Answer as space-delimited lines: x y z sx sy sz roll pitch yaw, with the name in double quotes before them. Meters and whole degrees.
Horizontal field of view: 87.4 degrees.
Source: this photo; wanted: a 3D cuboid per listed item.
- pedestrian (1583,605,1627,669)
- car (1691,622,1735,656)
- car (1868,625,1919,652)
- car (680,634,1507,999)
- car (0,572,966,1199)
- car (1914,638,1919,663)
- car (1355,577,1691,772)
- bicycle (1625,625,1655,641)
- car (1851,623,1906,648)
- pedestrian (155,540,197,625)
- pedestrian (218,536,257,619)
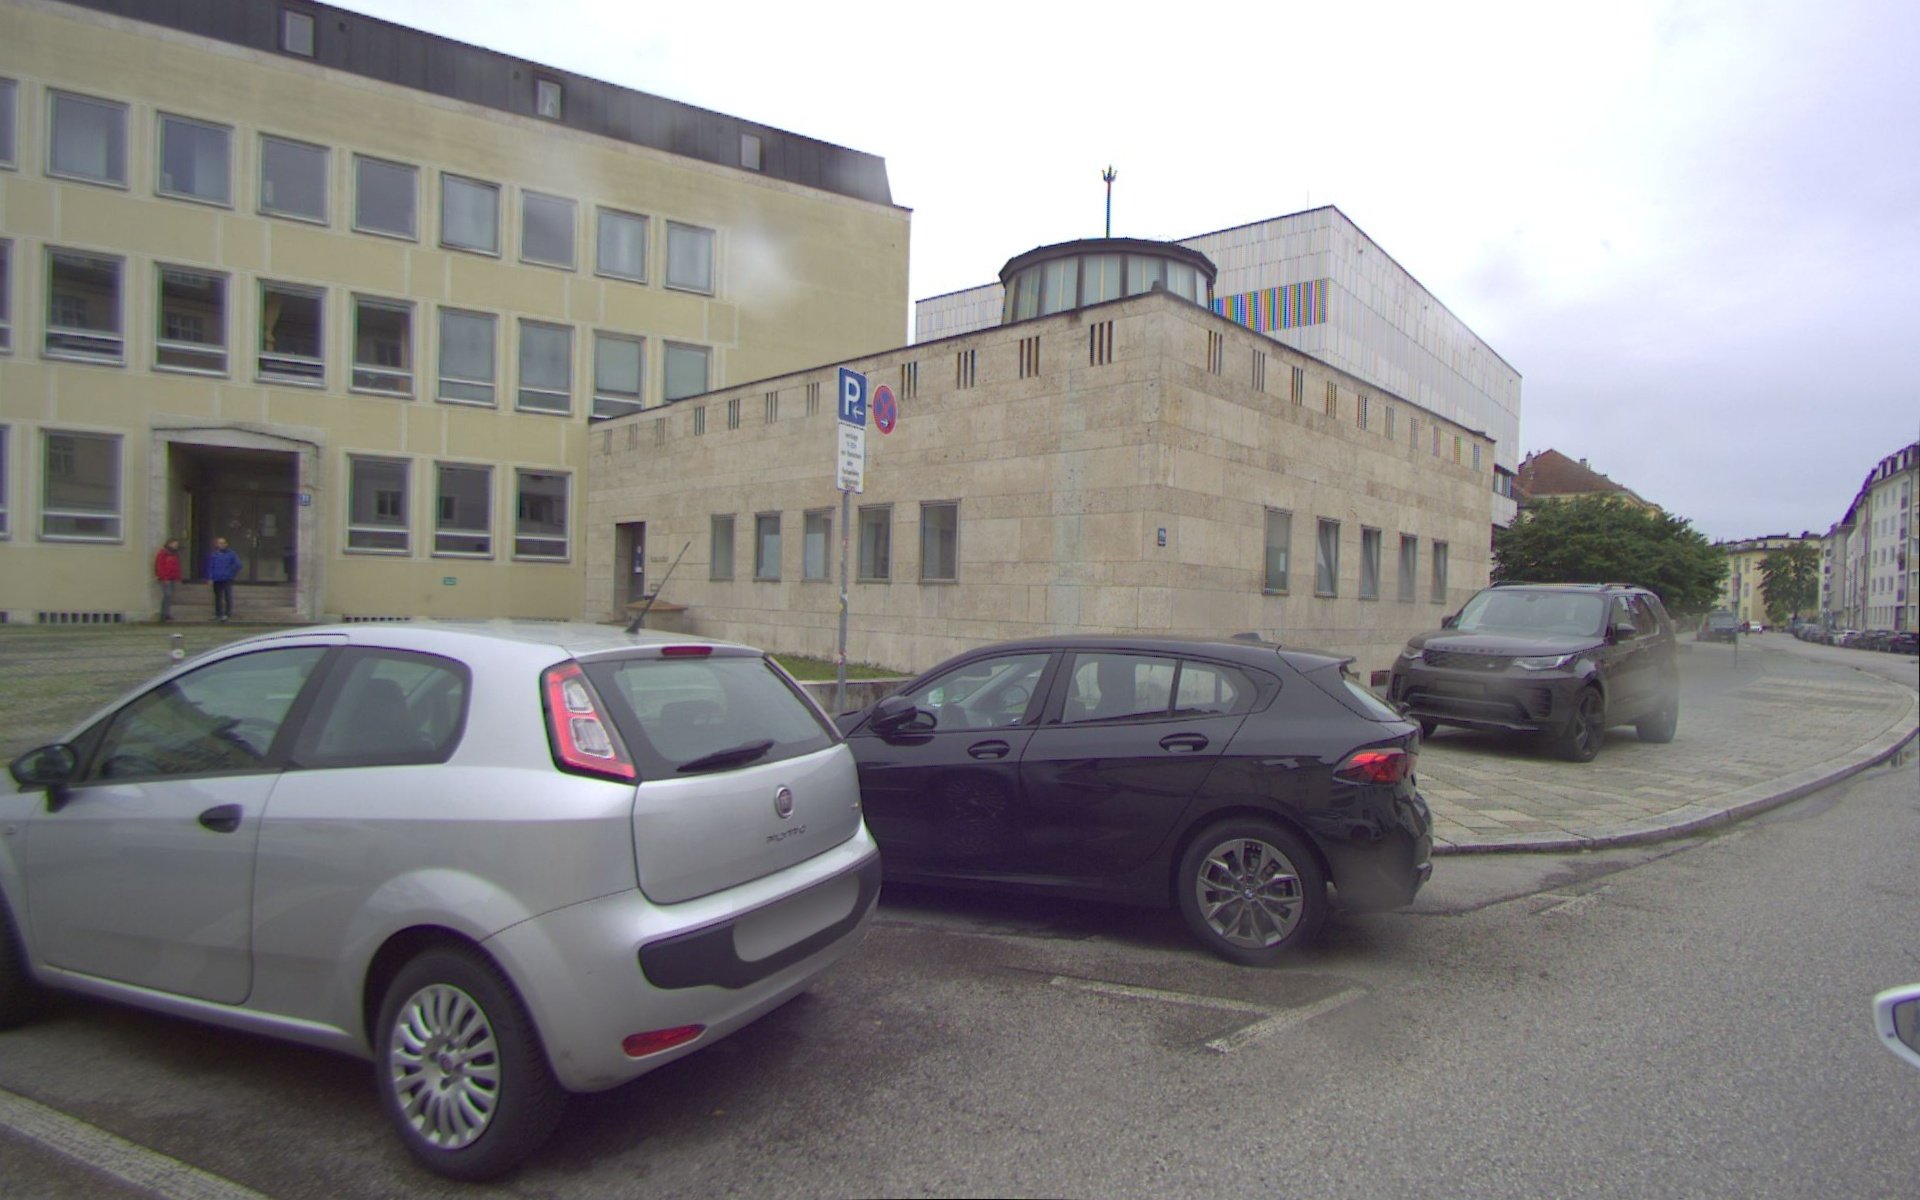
"pedestrian" 18.714 1.058 29.162 0.814 1.763 0.787 1 3 -40
"car" 63.562 3.263 84.869 2.387 2.751 5.939 0 -1 32
"car" 66.347 2.734 71.358 1.803 1.623 4.257 4 2 30
"car" 0.644 0.903 5.499 3.929 1.391 1.749 0 -2 22
"car" -2.124 0.756 3.910 3.907 1.550 1.674 3 2 25
"car" 60.849 3.222 62.049 1.898 1.532 4.379 4 1 33
"car" 6.672 0.702 11.636 4.779 1.795 1.975 1 1 -42
"bicycle" 50.848 2.440 75.123 1.772 1.047 0.504 4 3 44
"car" 68.806 2.618 75.321 1.935 1.623 4.662 4 2 30
"pedestrian" -16.757 -0.372 21.485 0.640 1.768 0.709 1 2 -34
"pedestrian" -15.877 -0.498 22.090 0.640 1.768 0.709 1 2 -34
